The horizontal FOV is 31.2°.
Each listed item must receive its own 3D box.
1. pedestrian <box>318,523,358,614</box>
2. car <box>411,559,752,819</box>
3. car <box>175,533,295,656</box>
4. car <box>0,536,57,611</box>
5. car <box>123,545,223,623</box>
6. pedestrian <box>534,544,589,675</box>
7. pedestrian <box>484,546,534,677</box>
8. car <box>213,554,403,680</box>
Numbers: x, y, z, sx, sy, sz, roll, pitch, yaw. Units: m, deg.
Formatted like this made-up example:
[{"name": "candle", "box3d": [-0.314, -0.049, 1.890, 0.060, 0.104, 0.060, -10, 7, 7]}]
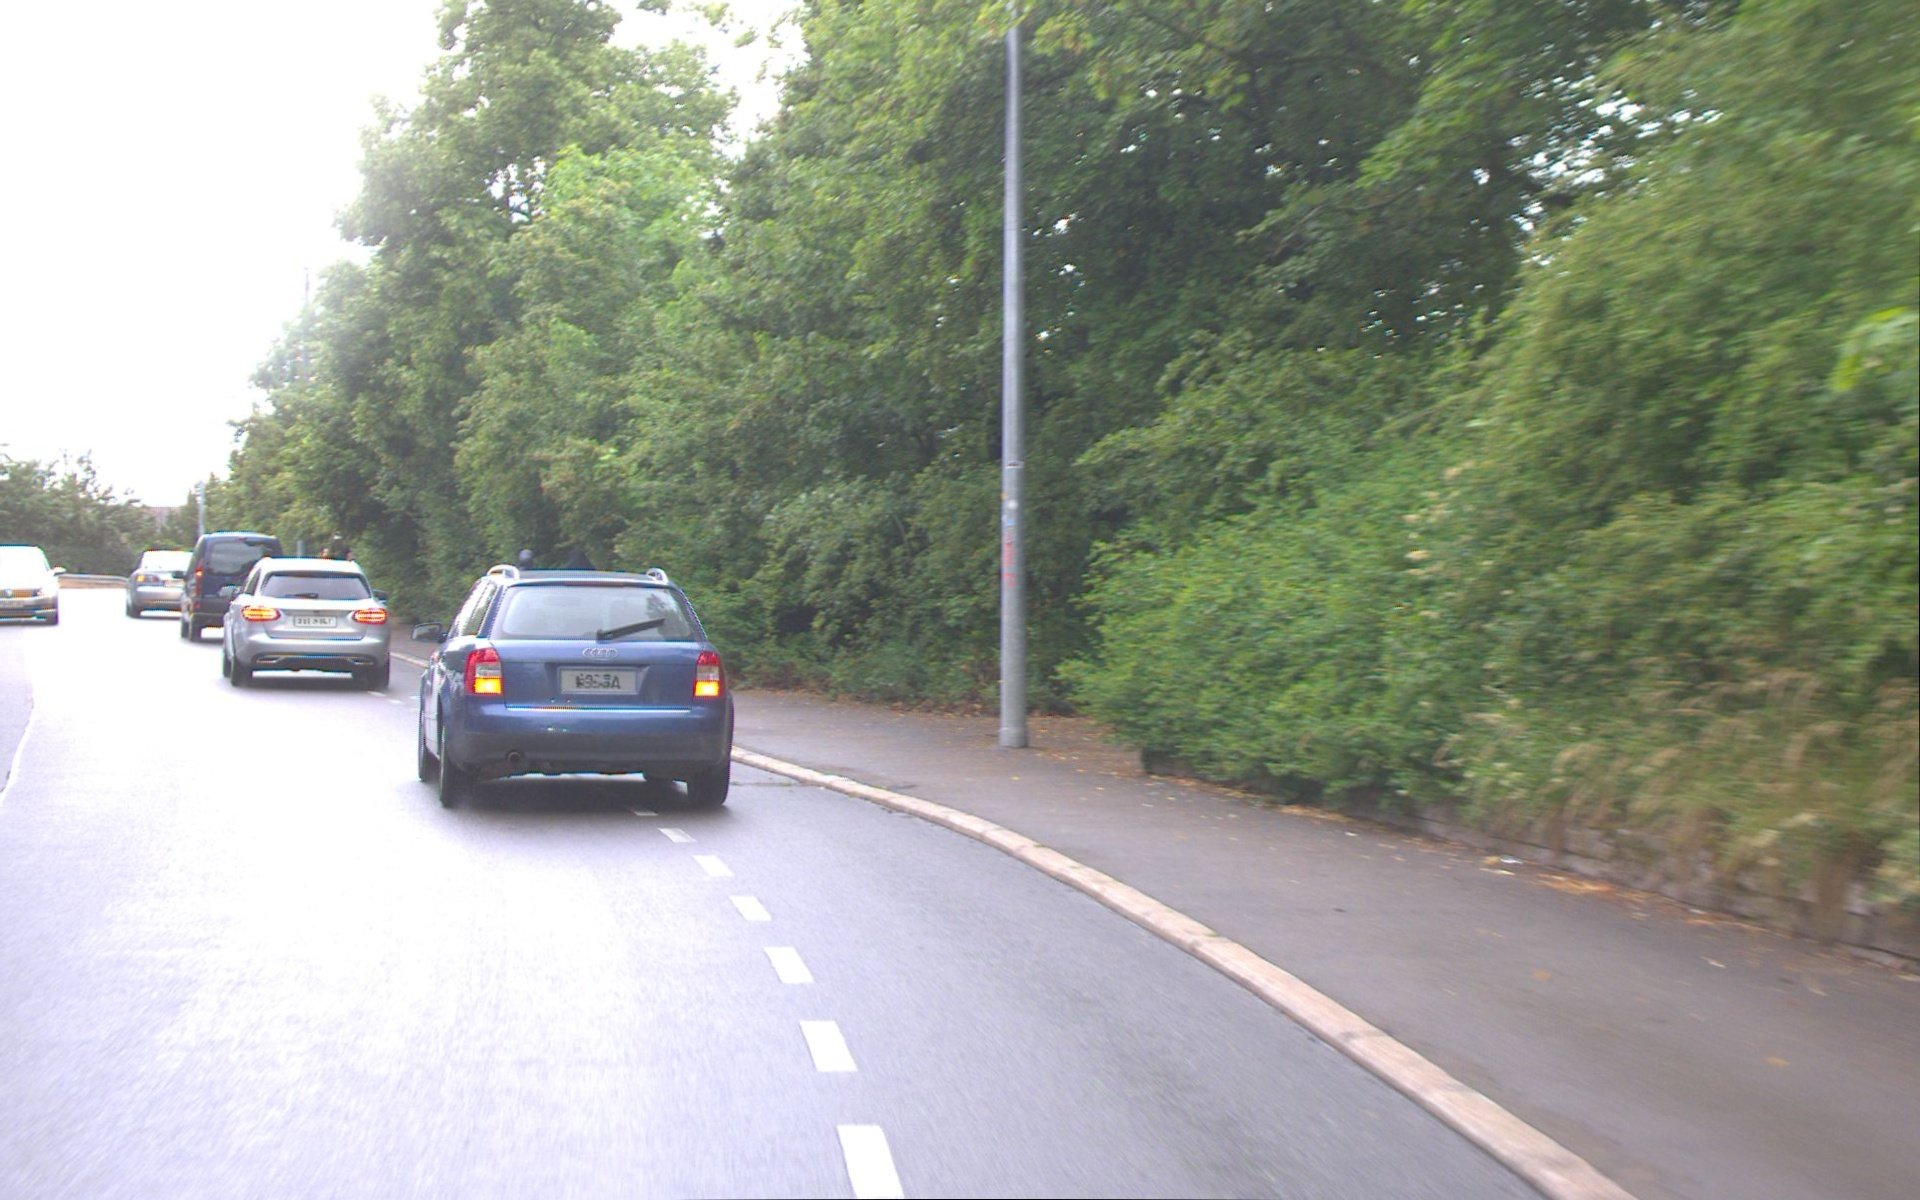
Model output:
[{"name": "pedestrian", "box3d": [-12.668, -0.646, 69.999, 0.716, 1.828, 1.022, -1, 1, -13]}, {"name": "car", "box3d": [-2.475, 0.494, 21.663, 1.746, 1.403, 4.001, 1, 1, -12]}, {"name": "car", "box3d": [-12.393, -0.074, 58.621, 1.788, 1.947, 4.001, -3, 0, -14]}, {"name": "car", "box3d": [-18.348, -0.505, 66.038, 1.882, 1.397, 4.257, 0, 0, -15]}, {"name": "car", "box3d": [-16.849, -0.343, 73.491, 1.821, 1.611, 3.786, -1, 1, -17]}, {"name": "pedestrian", "box3d": [-4.798, 0.114, 41.370, 0.595, 1.561, 0.669, 0, 1, -11]}, {"name": "pedestrian", "box3d": [-5.441, 0.137, 41.464, 0.552, 1.561, 0.487, -1, 1, -11]}, {"name": "car", "box3d": [-7.688, 0.162, 40.278, 1.890, 1.384, 4.001, 0, 1, -15]}]
